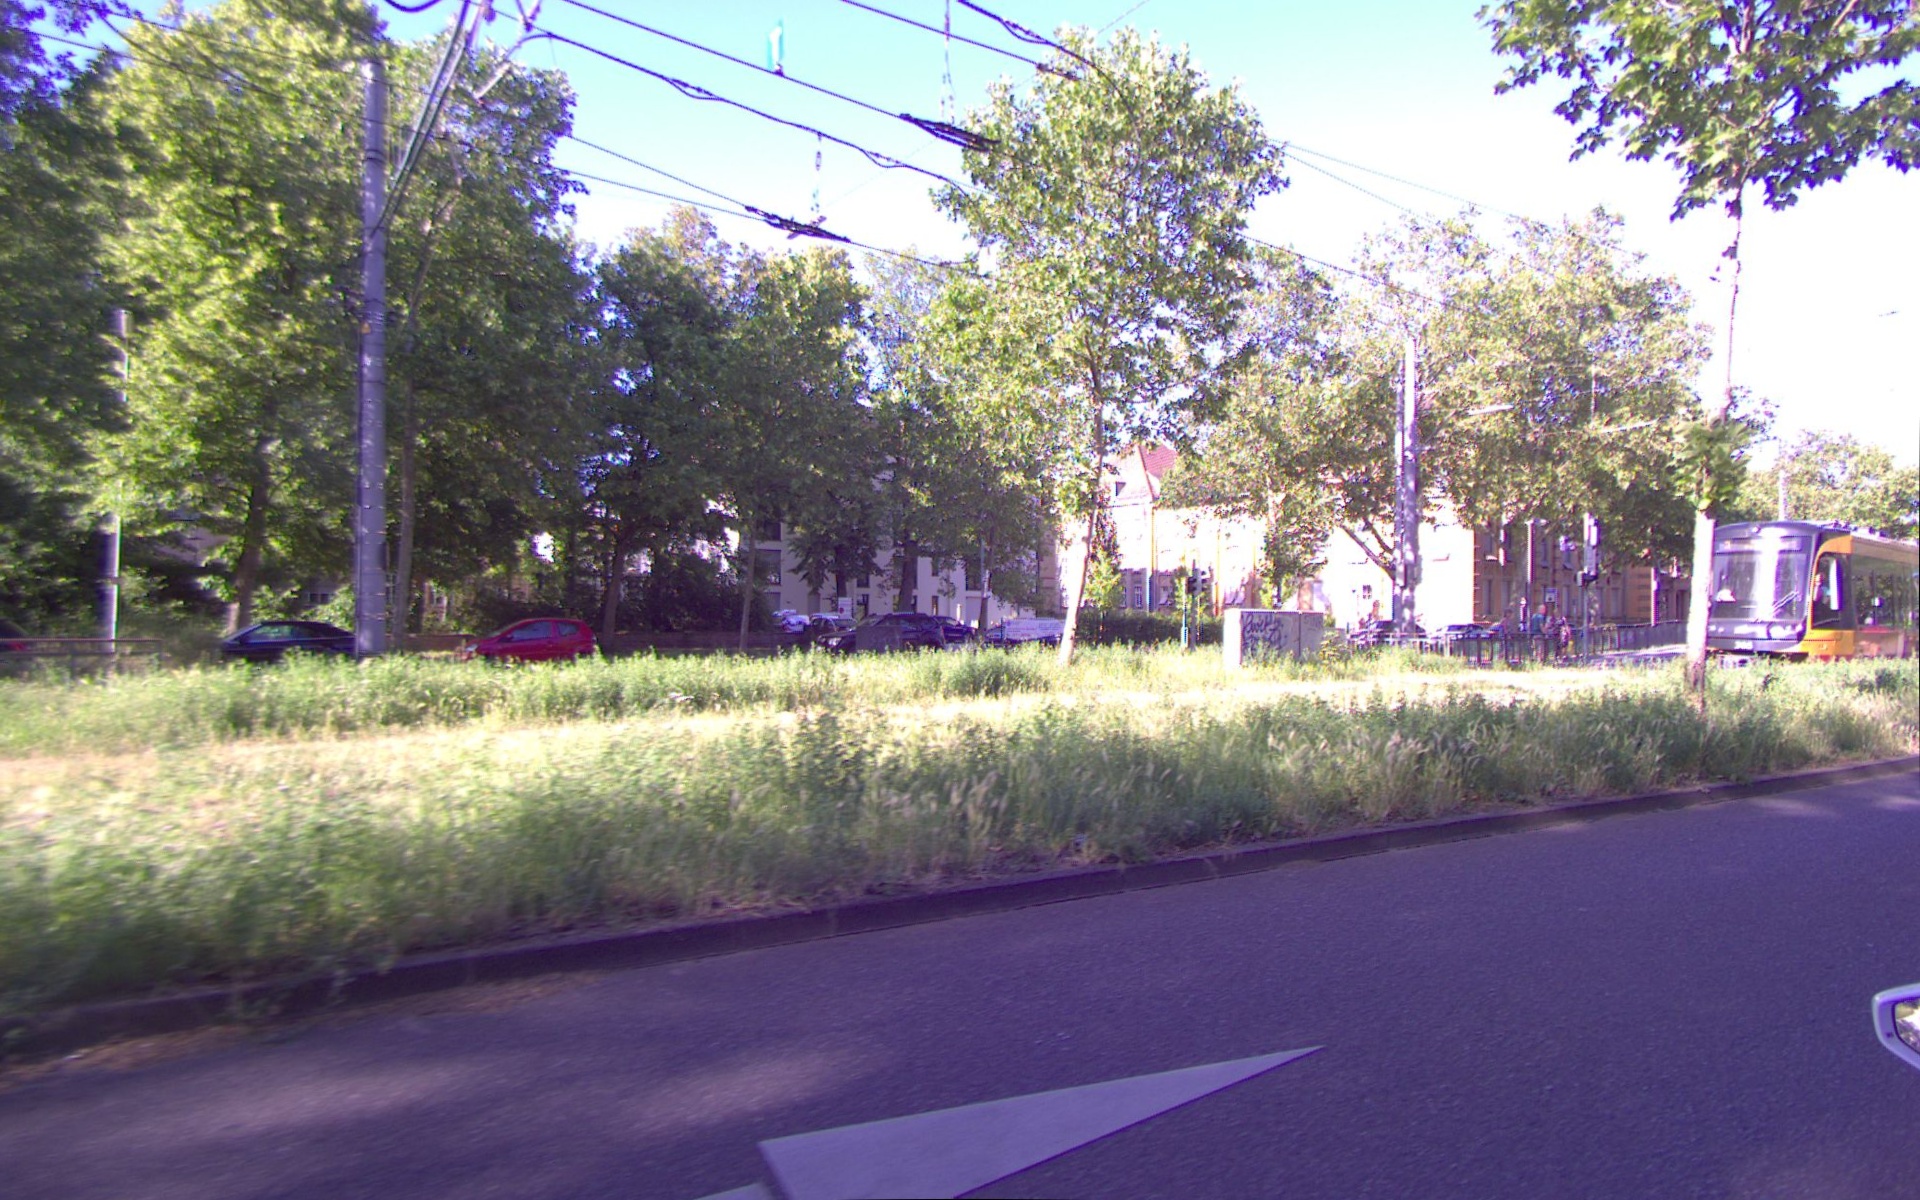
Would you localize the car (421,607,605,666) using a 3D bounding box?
[{"bbox_3d":[-11.239,0.875,25.294,3.959,1.328,1.981,1,1,-35],"label":"car"}]

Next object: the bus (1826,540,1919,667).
[{"bbox_3d":[30.993,0.220,31.720,12.096,3.490,2.849,1,-1,-36],"label":"bus"}]

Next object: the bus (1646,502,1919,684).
[{"bbox_3d":[20.906,-0.004,24.334,13.088,3.490,2.849,1,-1,-36],"label":"bus"}]

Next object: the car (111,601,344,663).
[{"bbox_3d":[-15.929,0.697,22.041,3.962,1.194,1.779,2,1,-37],"label":"car"}]

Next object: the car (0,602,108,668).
[{"bbox_3d":[-18.723,0.662,19.417,3.329,1.245,1.396,1,-1,-38],"label":"car"}]

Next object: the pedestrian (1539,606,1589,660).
[{"bbox_3d":[19.564,1.062,32.519,0.886,1.665,1.166,2,-1,-43],"label":"pedestrian"}]
